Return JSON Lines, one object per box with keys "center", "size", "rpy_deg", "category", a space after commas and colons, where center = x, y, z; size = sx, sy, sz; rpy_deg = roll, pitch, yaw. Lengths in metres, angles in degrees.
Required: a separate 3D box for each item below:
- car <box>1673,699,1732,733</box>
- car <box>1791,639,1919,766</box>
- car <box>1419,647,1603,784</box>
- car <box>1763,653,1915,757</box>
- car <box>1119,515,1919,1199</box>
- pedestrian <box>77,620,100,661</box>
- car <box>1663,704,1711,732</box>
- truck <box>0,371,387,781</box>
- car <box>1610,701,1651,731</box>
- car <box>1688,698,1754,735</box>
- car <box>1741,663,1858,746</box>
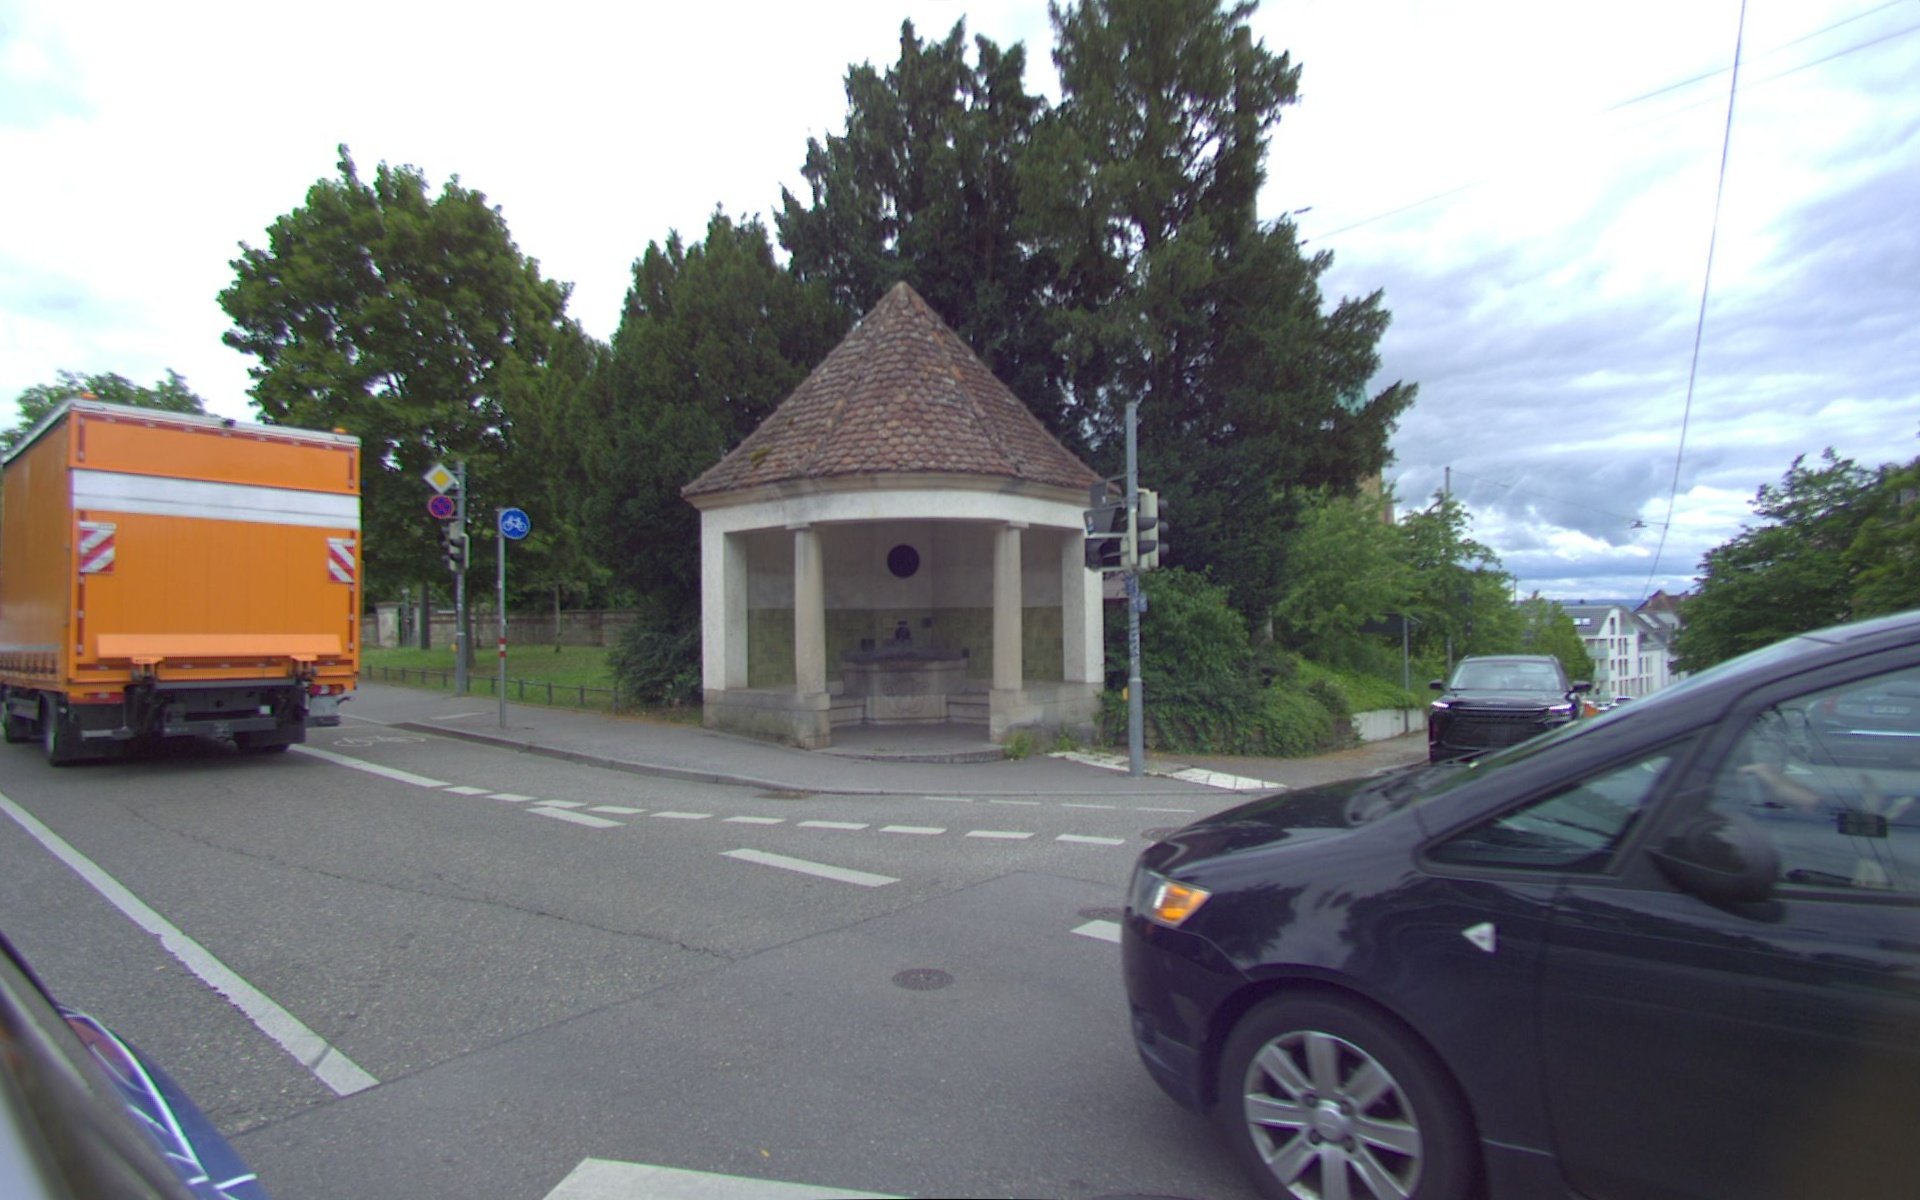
{"center": [35.663, 5.597, 48.705], "size": [1.994, 1.529, 3.955], "rpy_deg": [-2, -7, 32], "category": "car"}
{"center": [16.425, 1.822, 18.106], "size": [1.995, 2.029, 4.416], "rpy_deg": [-2, -6, 35], "category": "car"}
{"center": [8.232, 1.602, 14.914], "size": [1.961, 1.682, 4.436], "rpy_deg": [-2, -5, 34], "category": "car"}
{"center": [19.236, 2.207, 22.364], "size": [1.995, 2.029, 4.416], "rpy_deg": [-2, -4, 35], "category": "car"}
{"center": [2.364, 0.647, 2.055], "size": [3.729, 1.517, 1.658], "rpy_deg": [-2, -4, 39], "category": "car"}
{"center": [-39.317, 1.829, 45.656], "size": [0.784, 1.825, 0.607], "rpy_deg": [-5, -6, 41], "category": "pedestrian"}
{"center": [42.366, 6.876, 59.051], "size": [1.994, 1.529, 3.955], "rpy_deg": [-2, -7, 32], "category": "car"}
{"center": [-10.604, -0.072, 13.016], "size": [8.462, 3.747, 2.741], "rpy_deg": [-2, -4, 40], "category": "truck"}
{"center": [37.772, 6.528, 57.058], "size": [1.791, 1.550, 3.954], "rpy_deg": [-2, -6, 33], "category": "car"}
{"center": [33.627, 5.169, 44.820], "size": [1.994, 1.529, 3.955], "rpy_deg": [-2, -7, 32], "category": "car"}
{"center": [22.630, 2.748, 27.450], "size": [1.995, 2.029, 4.416], "rpy_deg": [-2, -4, 35], "category": "car"}
